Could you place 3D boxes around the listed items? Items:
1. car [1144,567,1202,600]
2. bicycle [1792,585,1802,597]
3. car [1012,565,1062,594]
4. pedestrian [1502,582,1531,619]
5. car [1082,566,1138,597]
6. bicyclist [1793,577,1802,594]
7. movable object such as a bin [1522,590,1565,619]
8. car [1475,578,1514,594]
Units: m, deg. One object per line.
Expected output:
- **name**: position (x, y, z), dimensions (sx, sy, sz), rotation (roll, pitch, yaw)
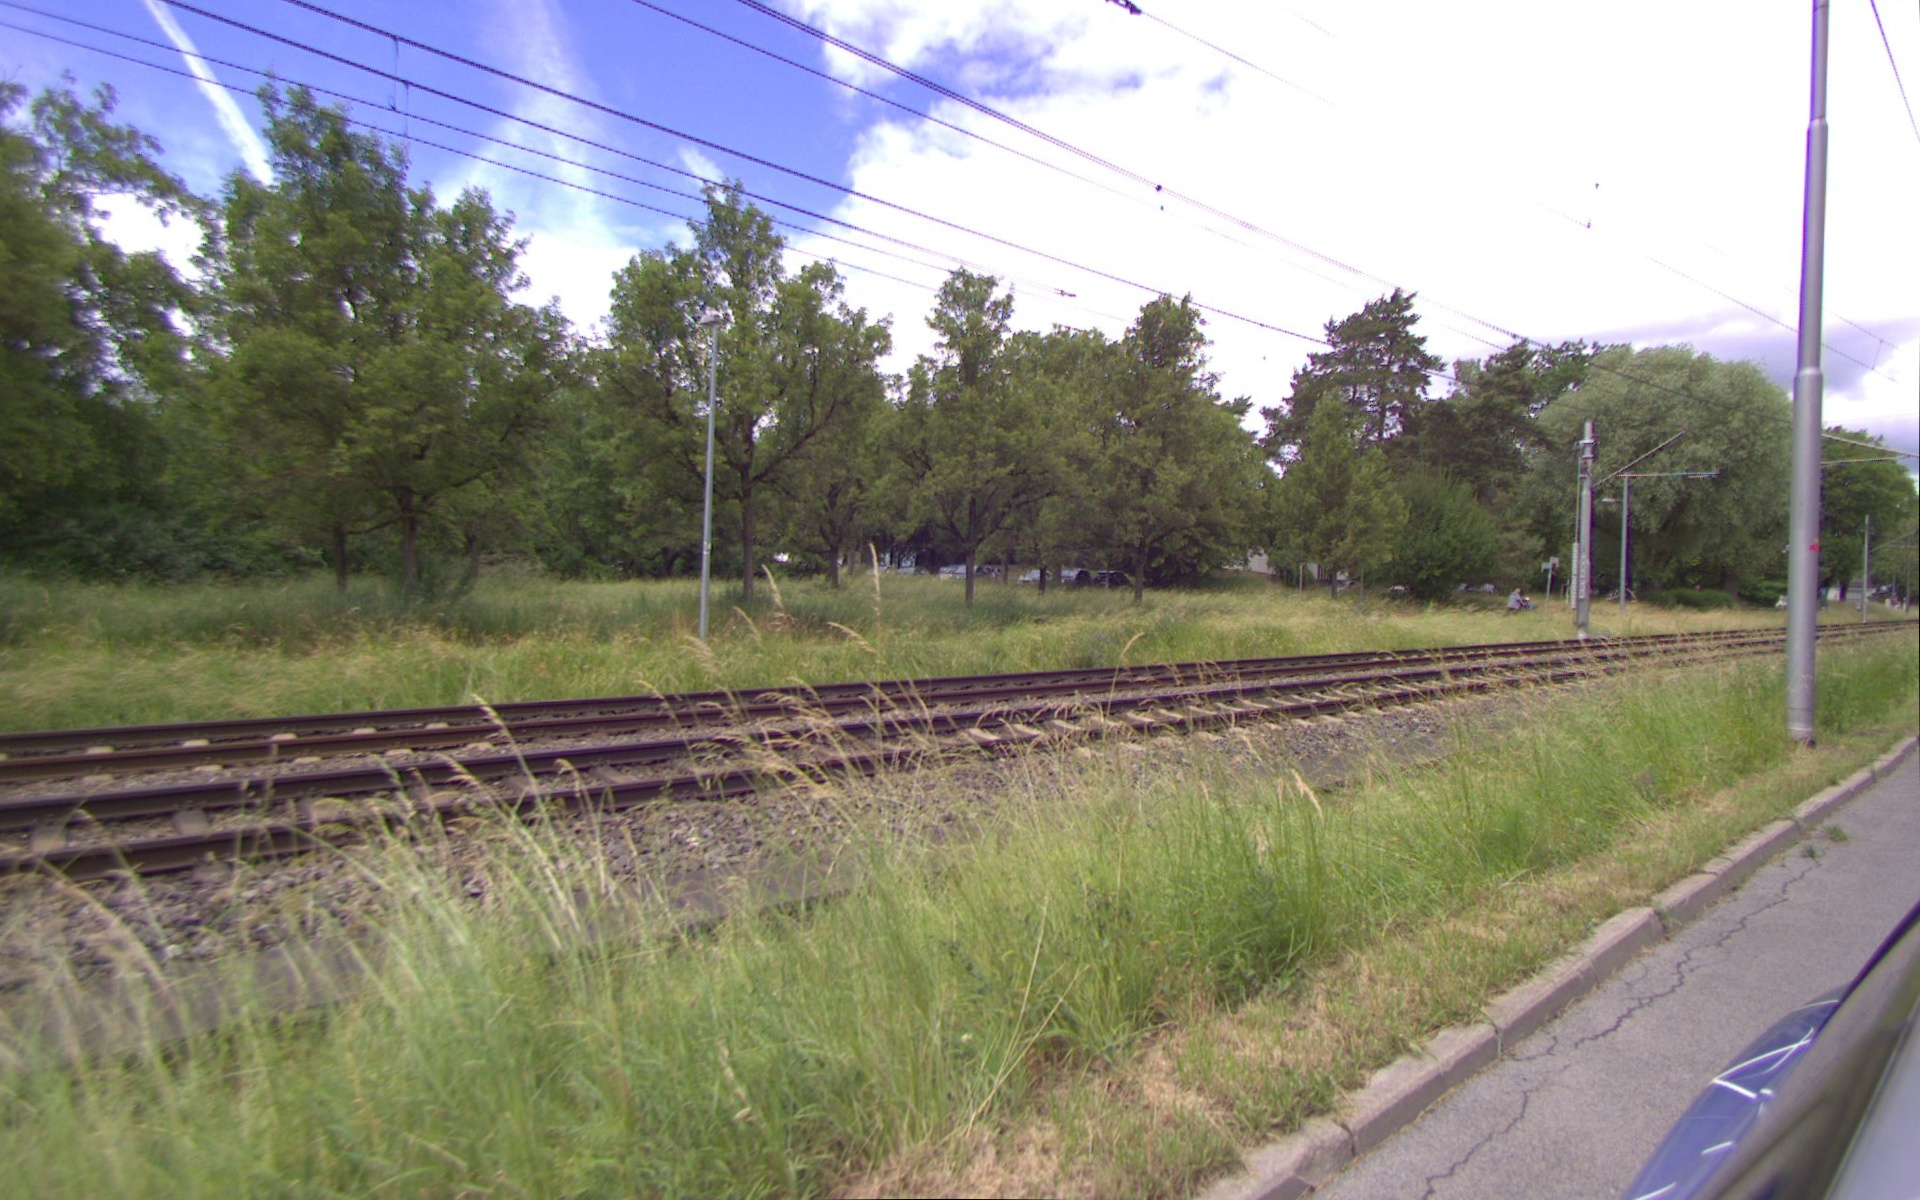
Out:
- **car**: position (12.247, -0.964, 58.140), dimensions (1.740, 1.826, 3.946), rotation (1, 1, 37)
- **bicycle**: position (86.398, -0.912, 104.488), dimensions (1.897, 1.261, 0.581), rotation (0, 1, -44)
- **car**: position (5.031, -1.313, 65.295), dimensions (1.979, 1.835, 3.967), rotation (1, 1, 24)
- **pedestrian**: position (26.074, 0.001, 47.456), dimensions (0.940, 1.687, 0.658), rotation (1, 1, 1)
- **car**: position (9.170, -1.107, 61.666), dimensions (1.740, 1.826, 3.946), rotation (1, 1, 37)
- **bicyclist**: position (86.657, -1.503, 104.730), dimensions (0.920, 1.717, 0.581), rotation (0, 1, -44)
- **movable object such as a bin**: position (27.344, 0.209, 47.425), dimensions (1.612, 1.326, 0.660), rotation (1, 1, 1)
- **car**: position (51.459, -1.357, 97.389), dimensions (3.929, 1.460, 1.998), rotation (0, 1, -40)
